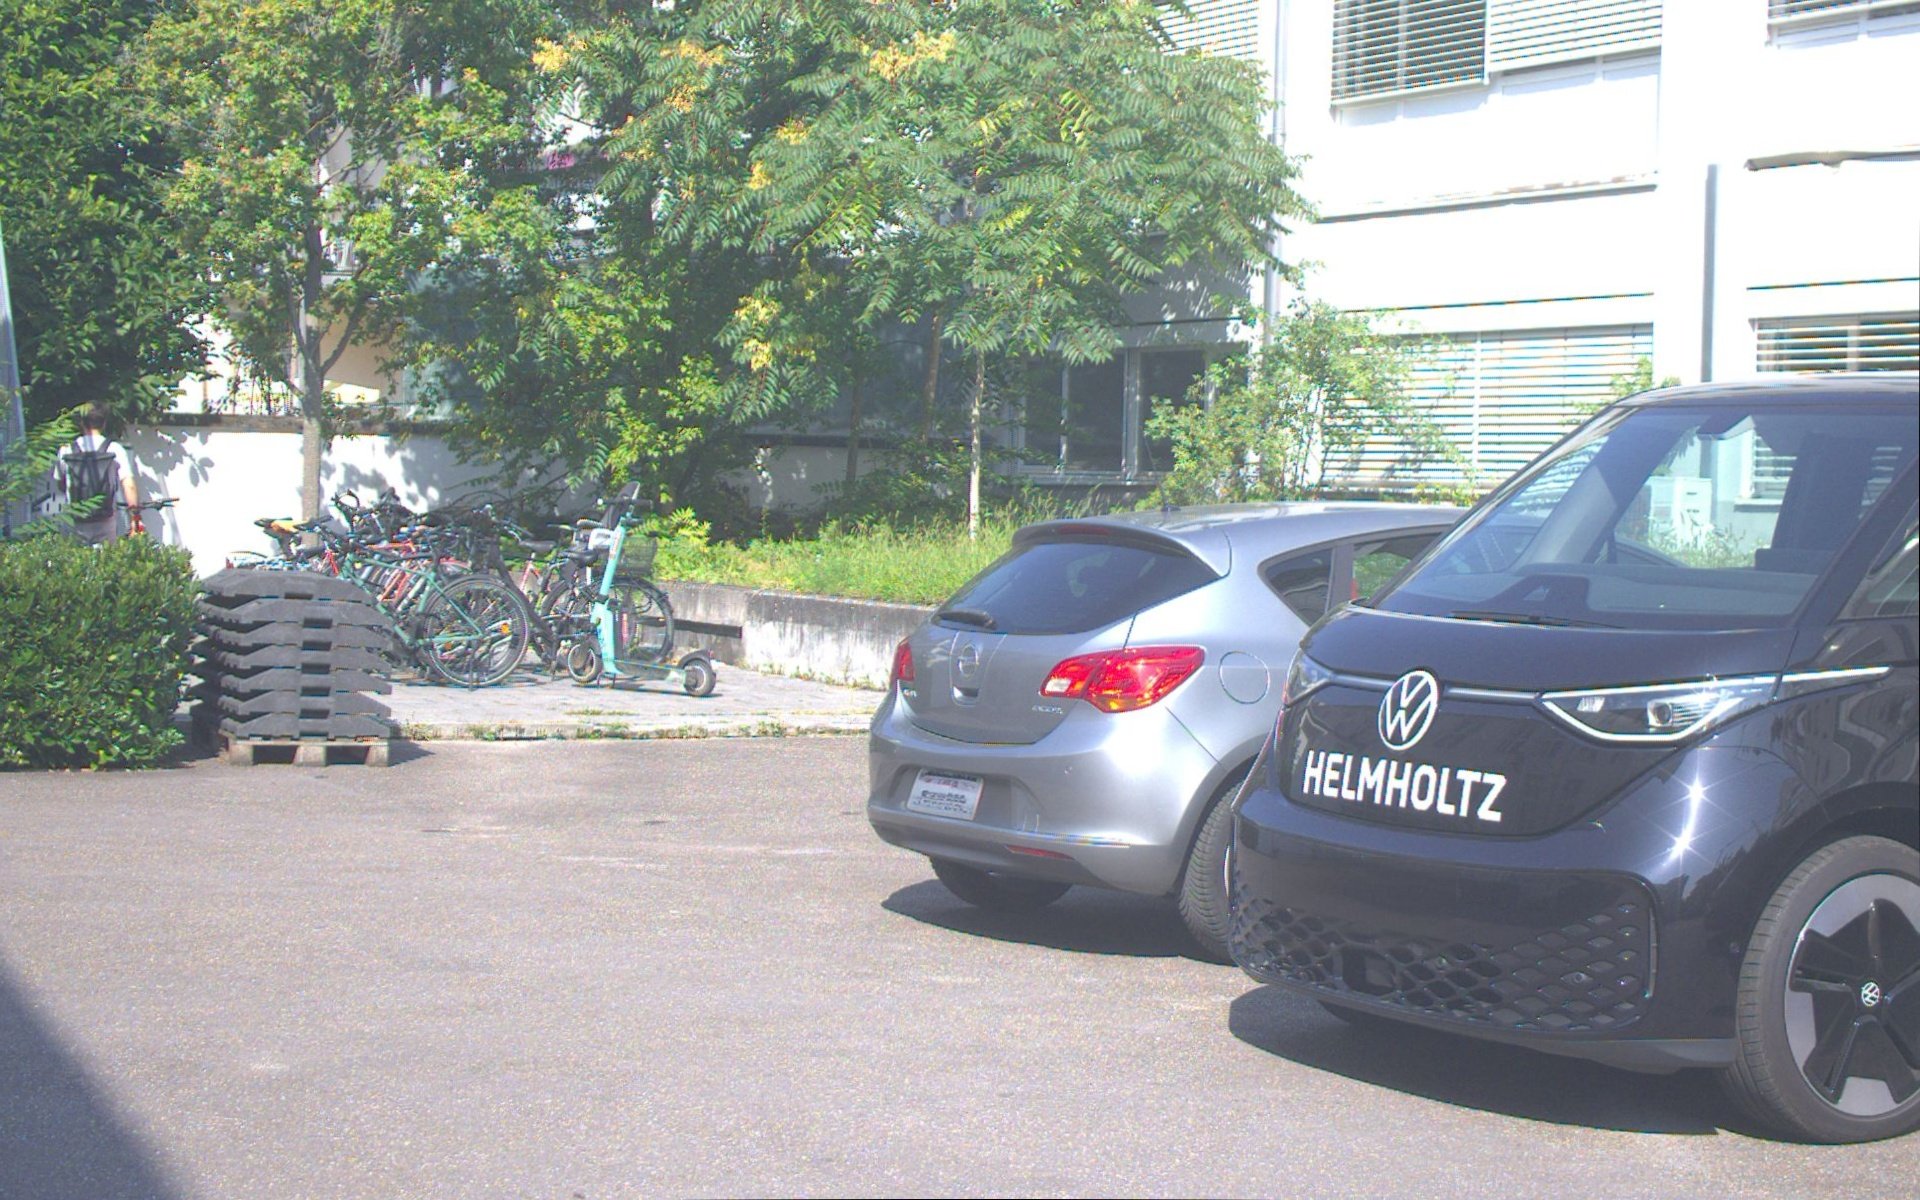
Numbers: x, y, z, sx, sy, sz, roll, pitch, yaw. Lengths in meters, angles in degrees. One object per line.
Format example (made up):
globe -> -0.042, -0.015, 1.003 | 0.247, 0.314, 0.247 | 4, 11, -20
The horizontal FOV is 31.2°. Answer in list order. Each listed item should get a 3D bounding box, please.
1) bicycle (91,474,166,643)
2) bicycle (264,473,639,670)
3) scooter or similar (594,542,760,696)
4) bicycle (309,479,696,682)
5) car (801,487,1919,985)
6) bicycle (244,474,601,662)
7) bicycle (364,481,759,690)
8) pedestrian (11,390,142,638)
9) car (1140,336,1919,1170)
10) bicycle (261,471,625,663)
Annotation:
bicycle -> -6.081, -0.325, 25.109 | 0.488, 1.139, 1.995 | 0, 3, -15
bicycle -> -3.431, -0.186, 23.260 | 2.410, 1.242, 0.526 | 2, 2, -22
scooter or similar -> -1.800, 0.113, 21.827 | 0.998, 0.921, 0.360 | 3, 2, 31
bicycle -> -2.988, -0.120, 22.536 | 2.410, 1.242, 0.526 | 2, 2, -22
car -> 1.548, 0.381, 12.138 | 3.897, 1.461, 1.663 | 0, 3, -35
bicycle -> -3.820, -0.223, 24.494 | 2.410, 1.242, 0.526 | 2, 2, -22
bicycle -> -2.536, -0.086, 21.981 | 2.410, 1.242, 0.526 | 2, 2, -22
pedestrian -> -6.455, -0.630, 25.151 | 0.858, 1.765, 0.611 | 2, 2, -13
car -> 2.857, 0.292, 9.551 | 4.335, 1.852, 1.915 | 0, 3, -31
bicycle -> -3.591, -0.223, 23.941 | 2.410, 1.242, 0.526 | 2, 2, -22
